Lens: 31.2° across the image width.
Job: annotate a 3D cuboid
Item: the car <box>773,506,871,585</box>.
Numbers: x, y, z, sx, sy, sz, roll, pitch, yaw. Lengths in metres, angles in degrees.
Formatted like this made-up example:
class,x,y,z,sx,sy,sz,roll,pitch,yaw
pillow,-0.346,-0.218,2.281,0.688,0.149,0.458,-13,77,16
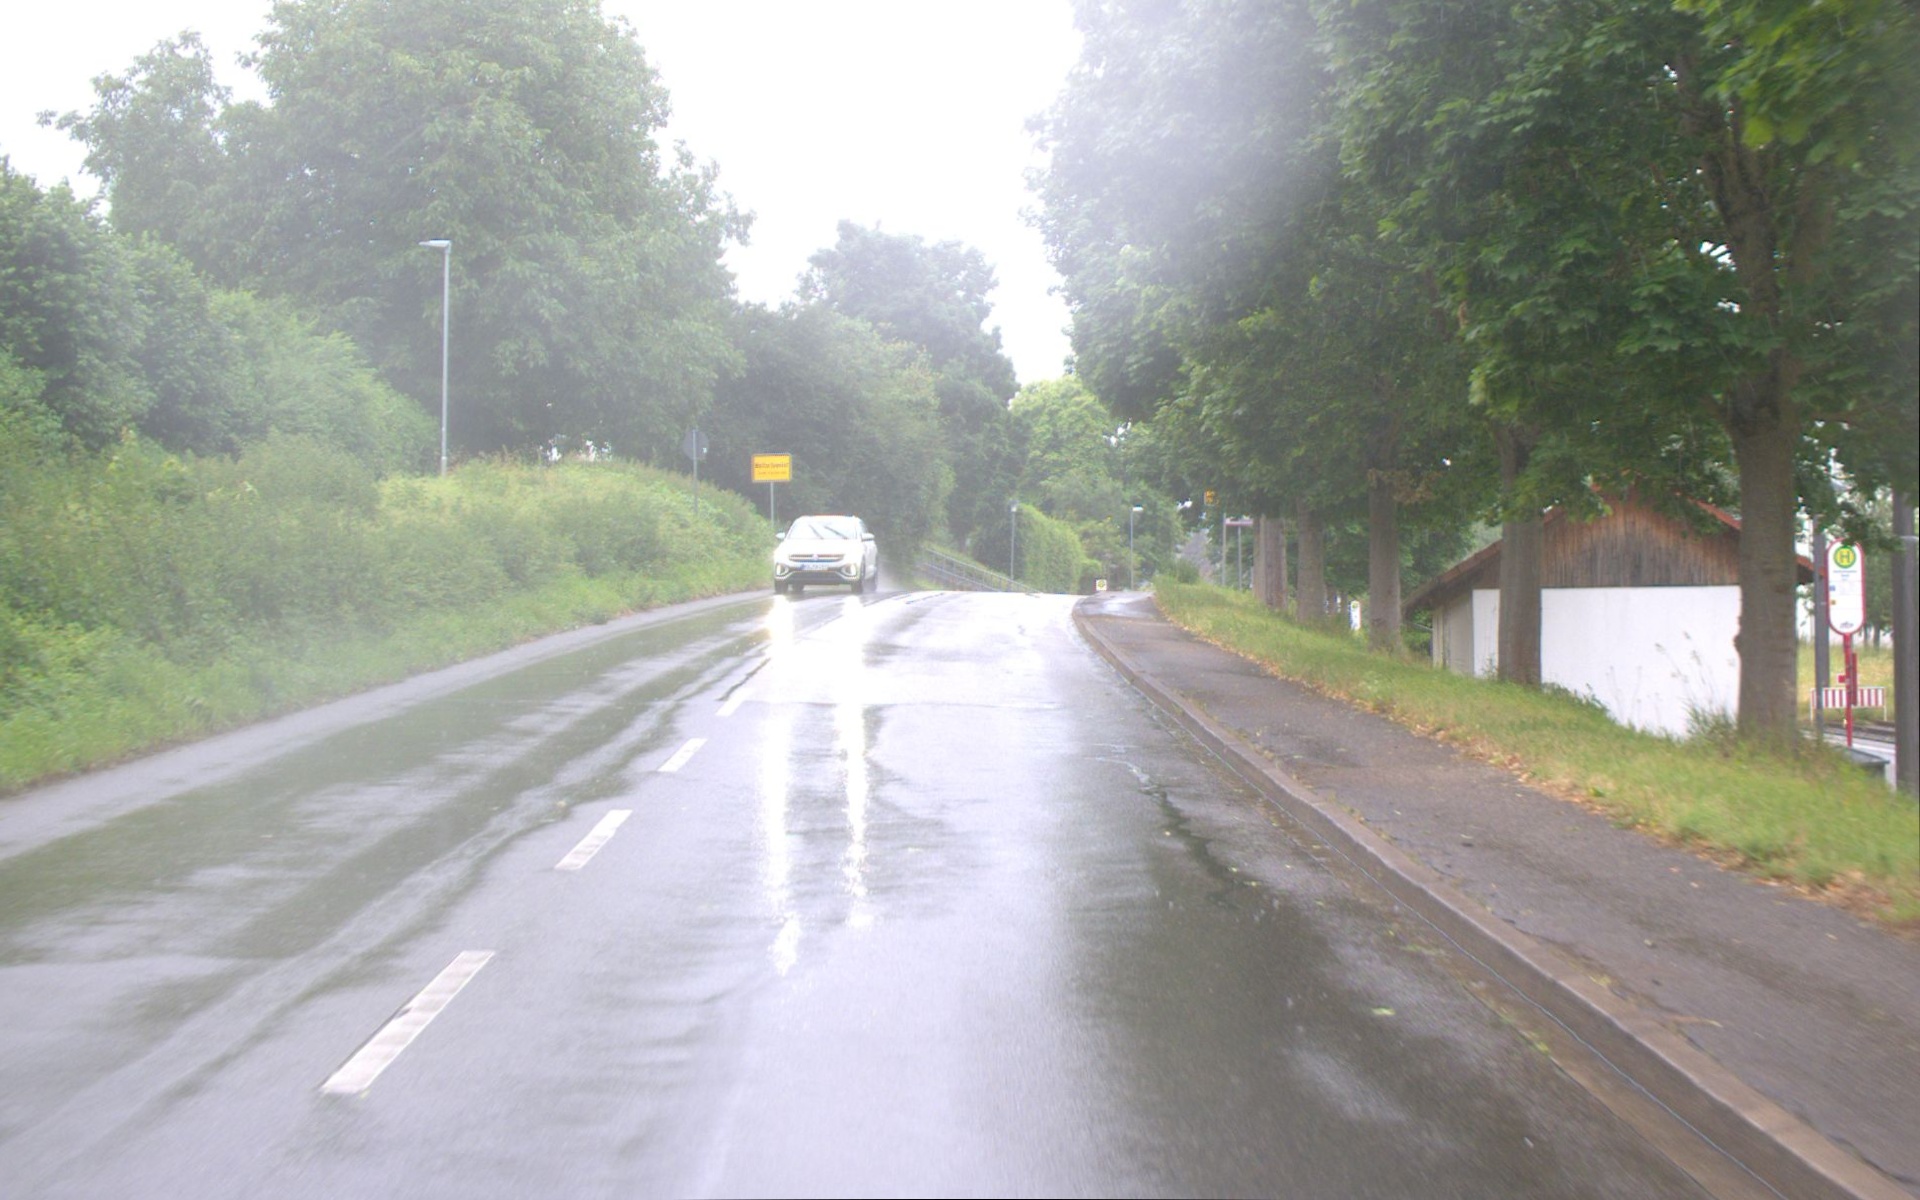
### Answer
class,x,y,z,sx,sy,sz,roll,pitch,yaw
car,-2.784,-1.141,70.059,1.781,1.499,4.000,0,2,1
